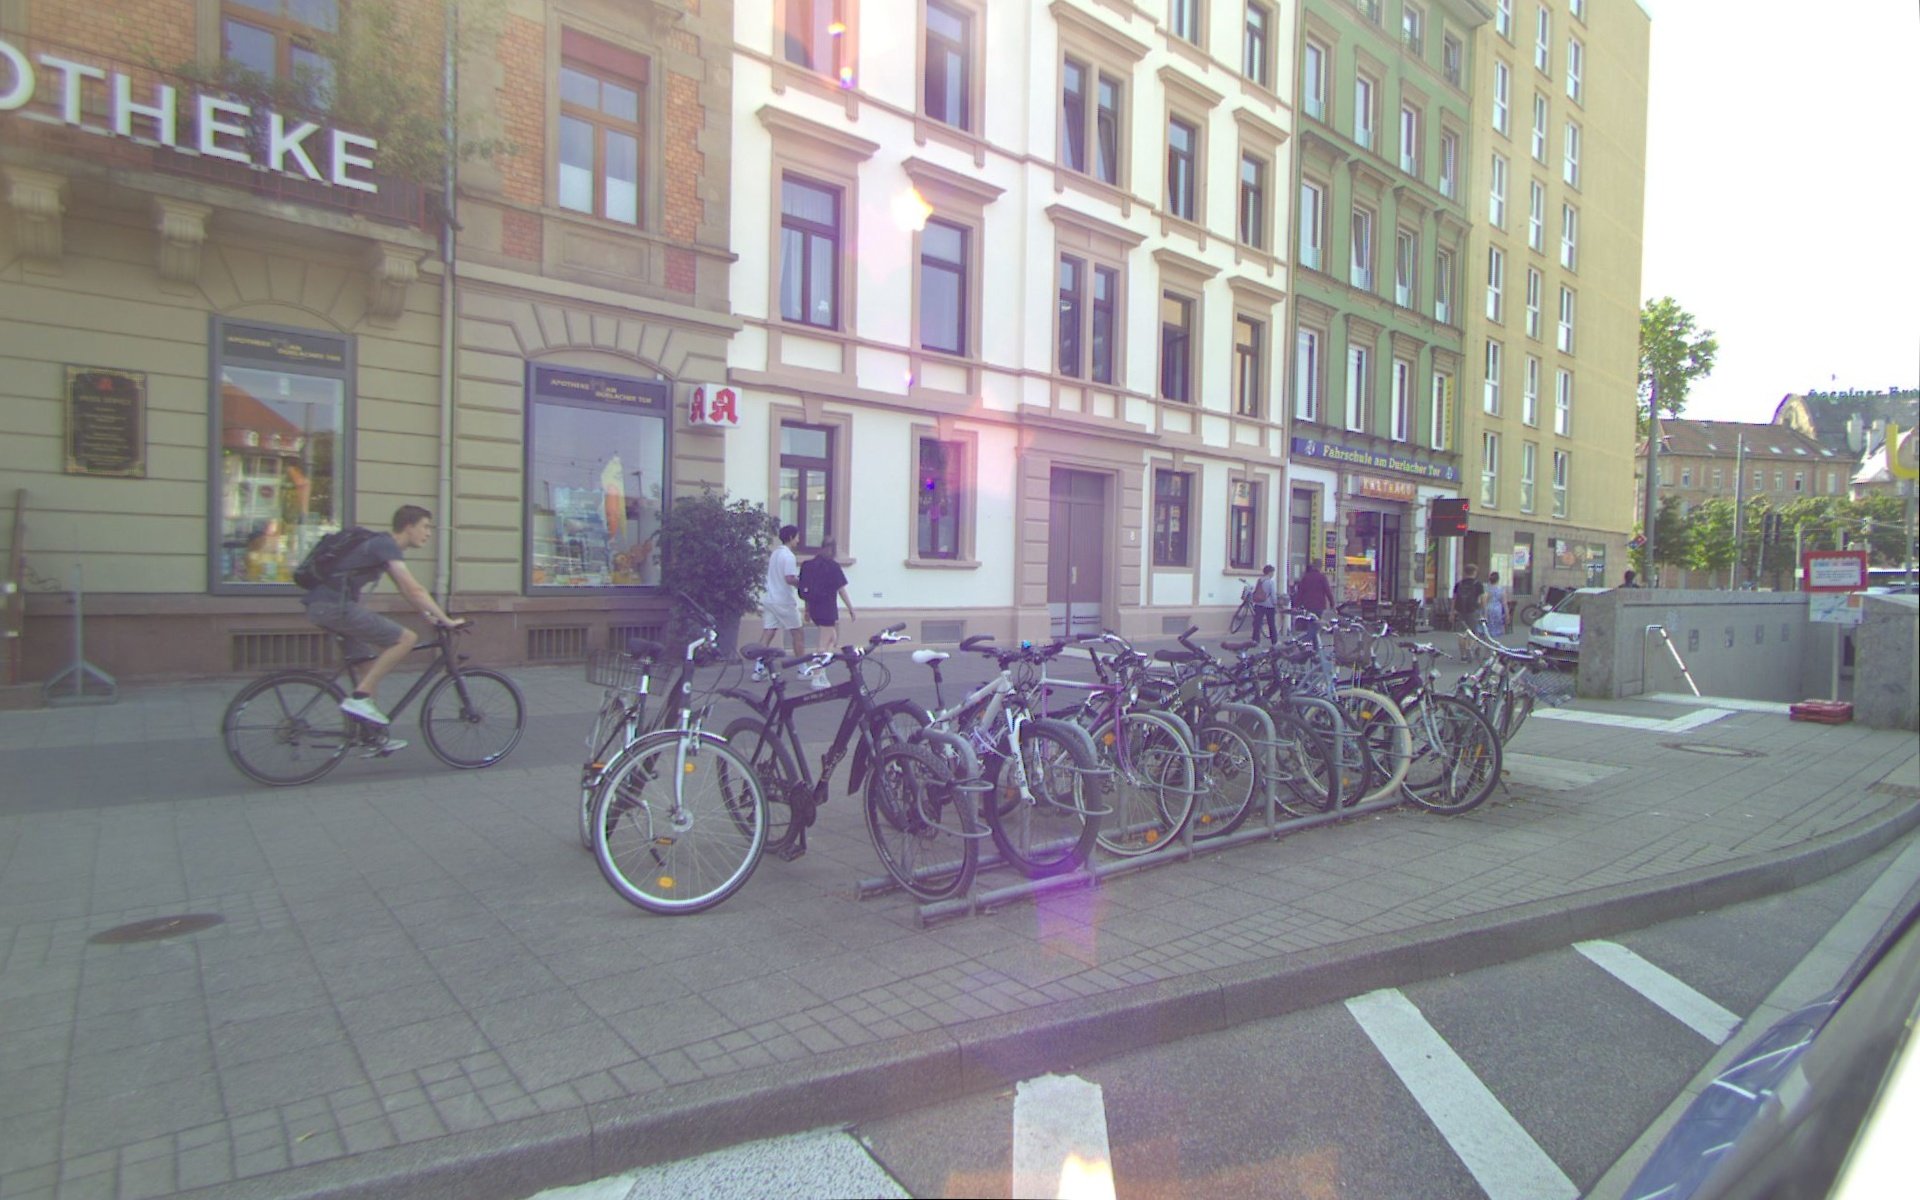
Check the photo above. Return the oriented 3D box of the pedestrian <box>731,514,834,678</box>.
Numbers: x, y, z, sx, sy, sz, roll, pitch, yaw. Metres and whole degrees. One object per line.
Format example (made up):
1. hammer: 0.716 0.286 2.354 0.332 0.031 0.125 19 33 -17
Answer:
1. pedestrian: -2.067 -0.066 11.793 0.913 1.826 0.726 0 3 -44

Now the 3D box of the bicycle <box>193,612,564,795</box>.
1. bicycle: -3.664 0.581 6.484 1.965 0.965 0.721 0 1 -40

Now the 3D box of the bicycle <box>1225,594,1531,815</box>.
1. bicycle: 2.602 0.582 6.515 0.427 1.218 1.841 0 1 -39

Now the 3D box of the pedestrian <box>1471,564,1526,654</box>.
1. pedestrian: 10.164 0.153 19.105 0.783 1.648 0.645 0 3 -43

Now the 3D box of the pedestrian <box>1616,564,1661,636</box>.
1. pedestrian: 15.894 -0.015 23.711 0.783 1.648 0.645 0 3 -43

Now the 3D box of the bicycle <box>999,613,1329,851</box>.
1. bicycle: 1.071 0.640 5.721 0.646 1.074 1.841 0 1 -40

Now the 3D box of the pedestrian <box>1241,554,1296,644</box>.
1. pedestrian: 5.806 -0.034 19.049 0.784 1.648 0.644 0 3 -45

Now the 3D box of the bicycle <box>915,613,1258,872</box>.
1. bicycle: 0.576 0.630 5.292 0.646 1.066 1.841 0 1 -40

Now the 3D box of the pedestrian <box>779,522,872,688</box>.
1. pedestrian: -1.518 0.031 11.422 0.784 1.793 0.644 0 3 -45

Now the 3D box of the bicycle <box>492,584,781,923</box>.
1. bicycle: -1.475 0.533 4.426 0.678 1.199 1.607 0 1 -39

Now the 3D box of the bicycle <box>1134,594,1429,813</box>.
1. bicycle: 2.015 0.578 6.597 0.539 1.218 1.841 0 1 -39

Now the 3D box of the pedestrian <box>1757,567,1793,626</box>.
1. pedestrian: 23.739 -0.110 29.480 0.783 1.648 0.645 0 3 -43

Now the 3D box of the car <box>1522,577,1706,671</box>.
1. car: 11.979 0.375 18.451 3.863 1.444 1.667 0 4 -40

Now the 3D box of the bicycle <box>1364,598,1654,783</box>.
1. bicycle: 4.098 0.603 7.688 0.626 1.218 1.841 0 1 -39

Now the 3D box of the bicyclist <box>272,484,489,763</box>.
1. bicyclist: -3.691 0.127 6.454 1.083 1.606 0.721 0 1 -40

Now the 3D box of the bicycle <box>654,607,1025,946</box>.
1. bicycle: -0.594 0.592 4.284 0.686 1.089 1.806 0 1 -40

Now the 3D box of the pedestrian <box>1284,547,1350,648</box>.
1. pedestrian: 6.460 -0.063 18.315 0.867 1.755 0.770 0 3 -45

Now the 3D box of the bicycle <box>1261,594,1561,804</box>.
1. bicycle: 2.938 0.576 6.782 0.427 1.218 1.841 0 1 -39

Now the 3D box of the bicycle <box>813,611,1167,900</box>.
1. bicycle: 0.056 0.611 4.845 0.646 1.074 1.841 0 1 -40

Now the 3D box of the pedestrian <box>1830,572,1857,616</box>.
1. pedestrian: 33.846 -0.250 38.771 0.783 1.648 0.645 0 3 -43

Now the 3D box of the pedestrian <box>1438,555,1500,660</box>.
1. pedestrian: 9.021 0.117 17.938 0.783 1.780 0.688 0 3 -42

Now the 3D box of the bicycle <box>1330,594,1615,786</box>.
1. bicycle: 3.652 0.576 7.368 0.427 1.218 1.841 0 1 -39

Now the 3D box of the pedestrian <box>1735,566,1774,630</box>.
1. pedestrian: 21.088 -0.072 26.869 0.783 1.648 0.645 0 3 -43

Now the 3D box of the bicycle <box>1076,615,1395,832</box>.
1. bicycle: 1.595 0.651 6.152 0.646 1.069 1.841 0 1 -40

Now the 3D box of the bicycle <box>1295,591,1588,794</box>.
1. bicycle: 3.284 0.561 7.075 0.427 1.235 1.841 0 1 -39

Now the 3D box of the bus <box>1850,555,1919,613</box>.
1. bus: 53.769 -0.860 52.952 2.864 3.177 12.354 0 0 -4
